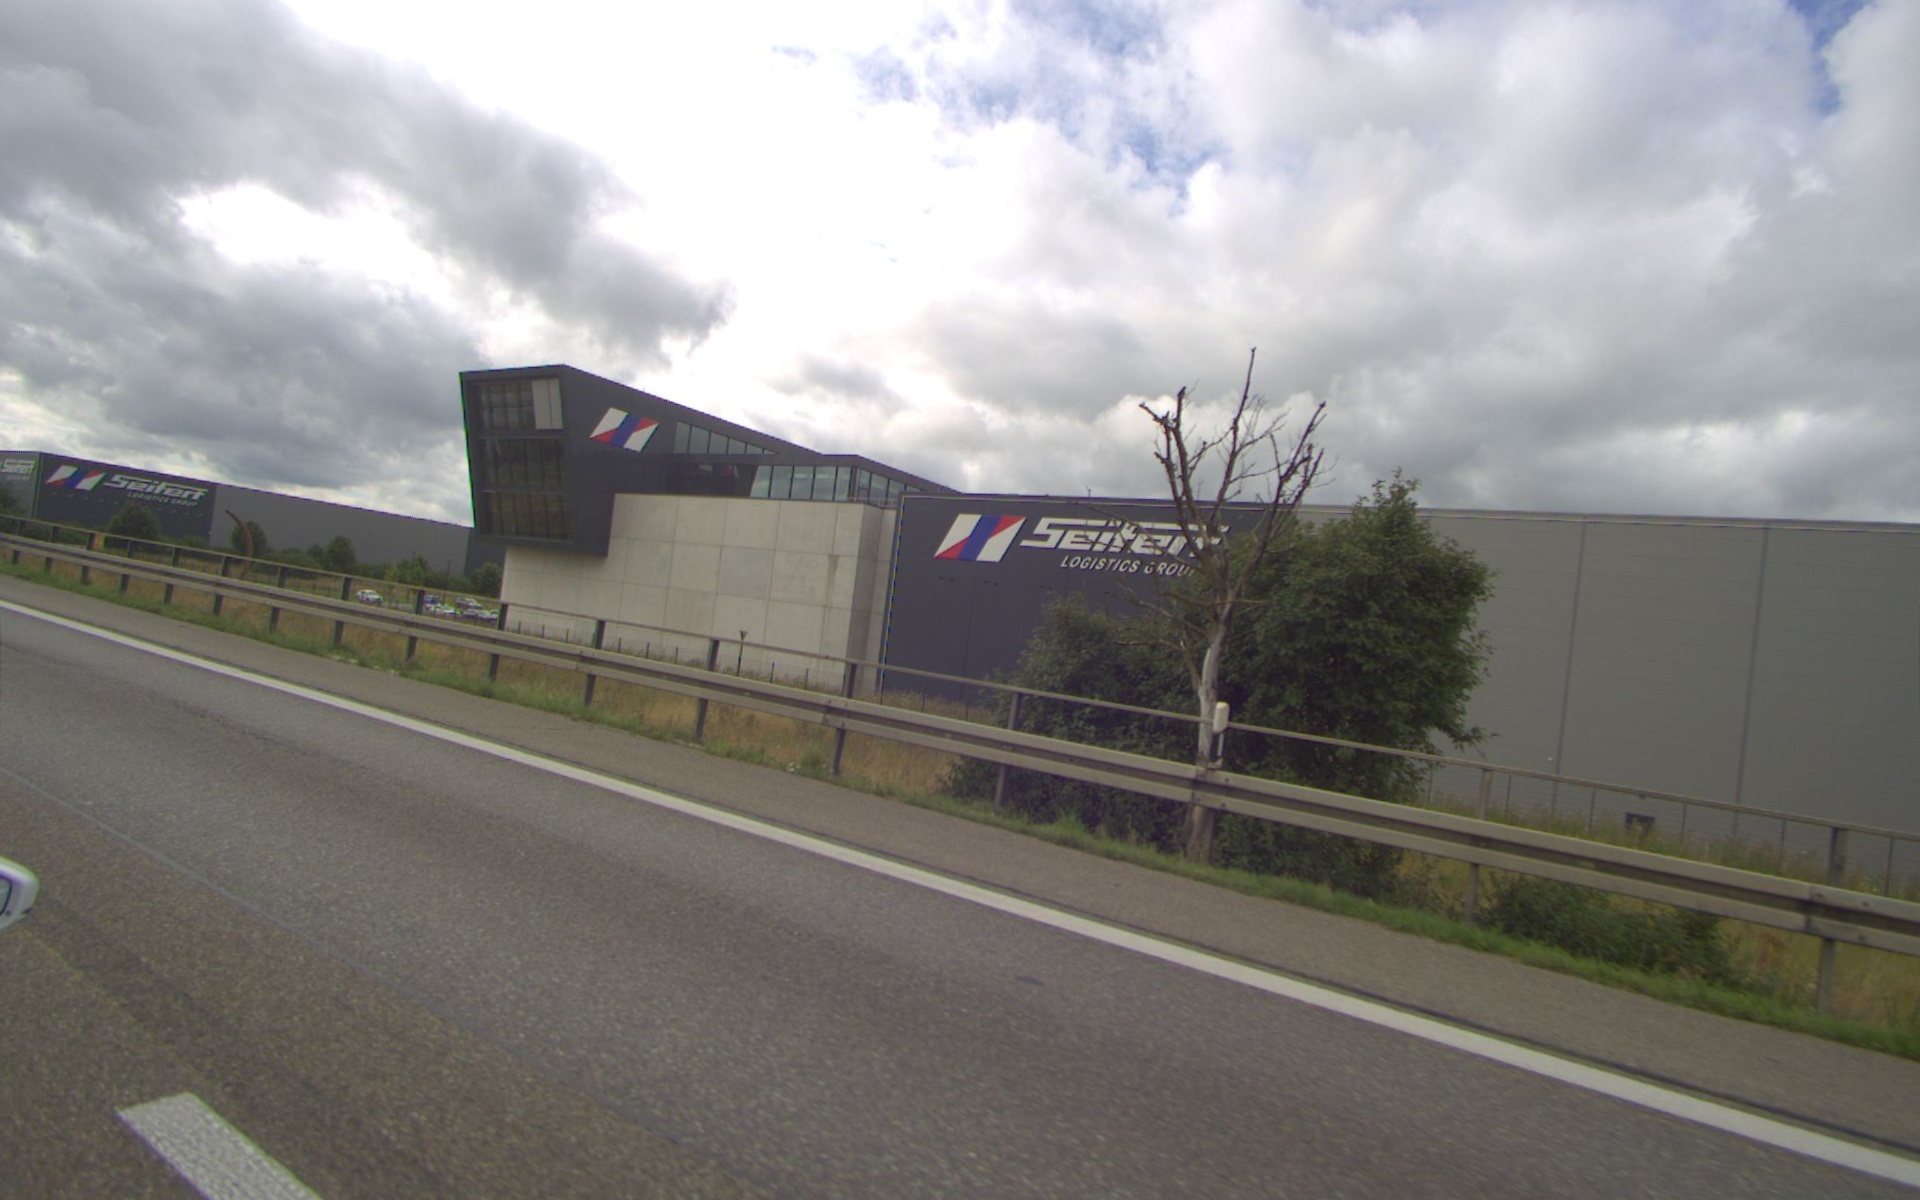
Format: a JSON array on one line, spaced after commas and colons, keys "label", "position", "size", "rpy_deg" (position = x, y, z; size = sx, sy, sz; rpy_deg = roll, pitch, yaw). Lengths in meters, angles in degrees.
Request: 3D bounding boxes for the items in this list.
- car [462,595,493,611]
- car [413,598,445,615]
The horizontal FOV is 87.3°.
[{"label": "car", "position": [-63.892, 0.441, 133.210], "size": [3.933, 1.511, 1.679], "rpy_deg": [7, -3, 31]}, {"label": "car", "position": [-67.932, 0.825, 128.783], "size": [3.933, 1.511, 1.679], "rpy_deg": [7, -3, 31]}]
